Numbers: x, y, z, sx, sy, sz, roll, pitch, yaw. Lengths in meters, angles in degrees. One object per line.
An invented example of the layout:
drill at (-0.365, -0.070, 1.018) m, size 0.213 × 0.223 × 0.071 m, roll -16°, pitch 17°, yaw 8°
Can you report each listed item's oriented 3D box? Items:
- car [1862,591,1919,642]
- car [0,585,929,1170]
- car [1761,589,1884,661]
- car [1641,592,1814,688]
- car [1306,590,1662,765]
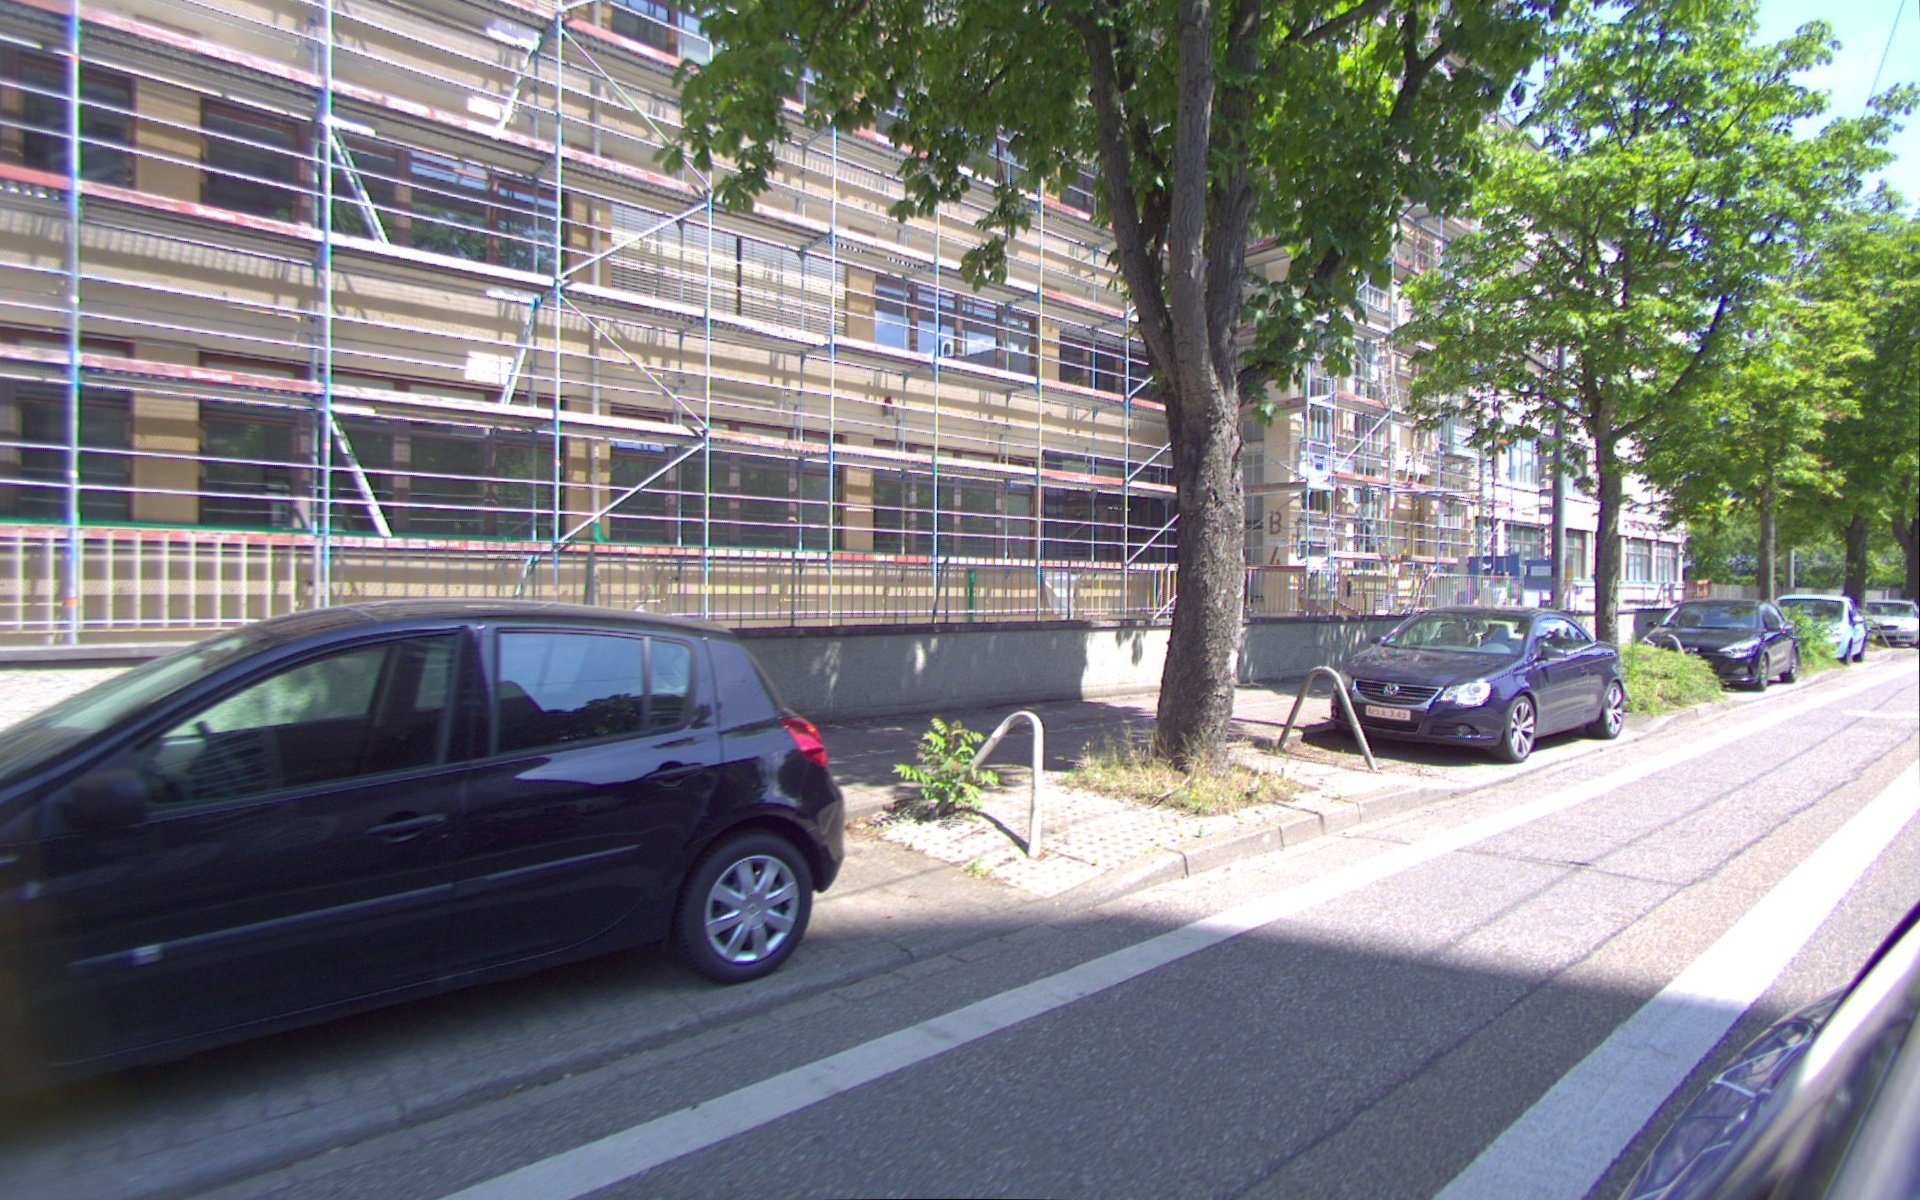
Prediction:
car at (29.886, 0.470, 32.067) m, size 4.294 × 1.518 × 1.672 m, roll 0°, pitch 1°, yaw -44°
car at (-2.385, 0.694, 3.796) m, size 4.320 × 1.490 × 1.829 m, roll 0°, pitch 0°, yaw -39°
car at (20.266, 0.534, 23.726) m, size 4.129 × 1.537 × 1.673 m, roll 0°, pitch 1°, yaw -42°
car at (13.299, 0.601, 17.450) m, size 3.972 × 1.456 × 1.673 m, roll 0°, pitch 1°, yaw -42°
car at (5.709, 0.649, 10.782) m, size 4.406 × 1.490 × 1.828 m, roll 0°, pitch 1°, yaw -40°
